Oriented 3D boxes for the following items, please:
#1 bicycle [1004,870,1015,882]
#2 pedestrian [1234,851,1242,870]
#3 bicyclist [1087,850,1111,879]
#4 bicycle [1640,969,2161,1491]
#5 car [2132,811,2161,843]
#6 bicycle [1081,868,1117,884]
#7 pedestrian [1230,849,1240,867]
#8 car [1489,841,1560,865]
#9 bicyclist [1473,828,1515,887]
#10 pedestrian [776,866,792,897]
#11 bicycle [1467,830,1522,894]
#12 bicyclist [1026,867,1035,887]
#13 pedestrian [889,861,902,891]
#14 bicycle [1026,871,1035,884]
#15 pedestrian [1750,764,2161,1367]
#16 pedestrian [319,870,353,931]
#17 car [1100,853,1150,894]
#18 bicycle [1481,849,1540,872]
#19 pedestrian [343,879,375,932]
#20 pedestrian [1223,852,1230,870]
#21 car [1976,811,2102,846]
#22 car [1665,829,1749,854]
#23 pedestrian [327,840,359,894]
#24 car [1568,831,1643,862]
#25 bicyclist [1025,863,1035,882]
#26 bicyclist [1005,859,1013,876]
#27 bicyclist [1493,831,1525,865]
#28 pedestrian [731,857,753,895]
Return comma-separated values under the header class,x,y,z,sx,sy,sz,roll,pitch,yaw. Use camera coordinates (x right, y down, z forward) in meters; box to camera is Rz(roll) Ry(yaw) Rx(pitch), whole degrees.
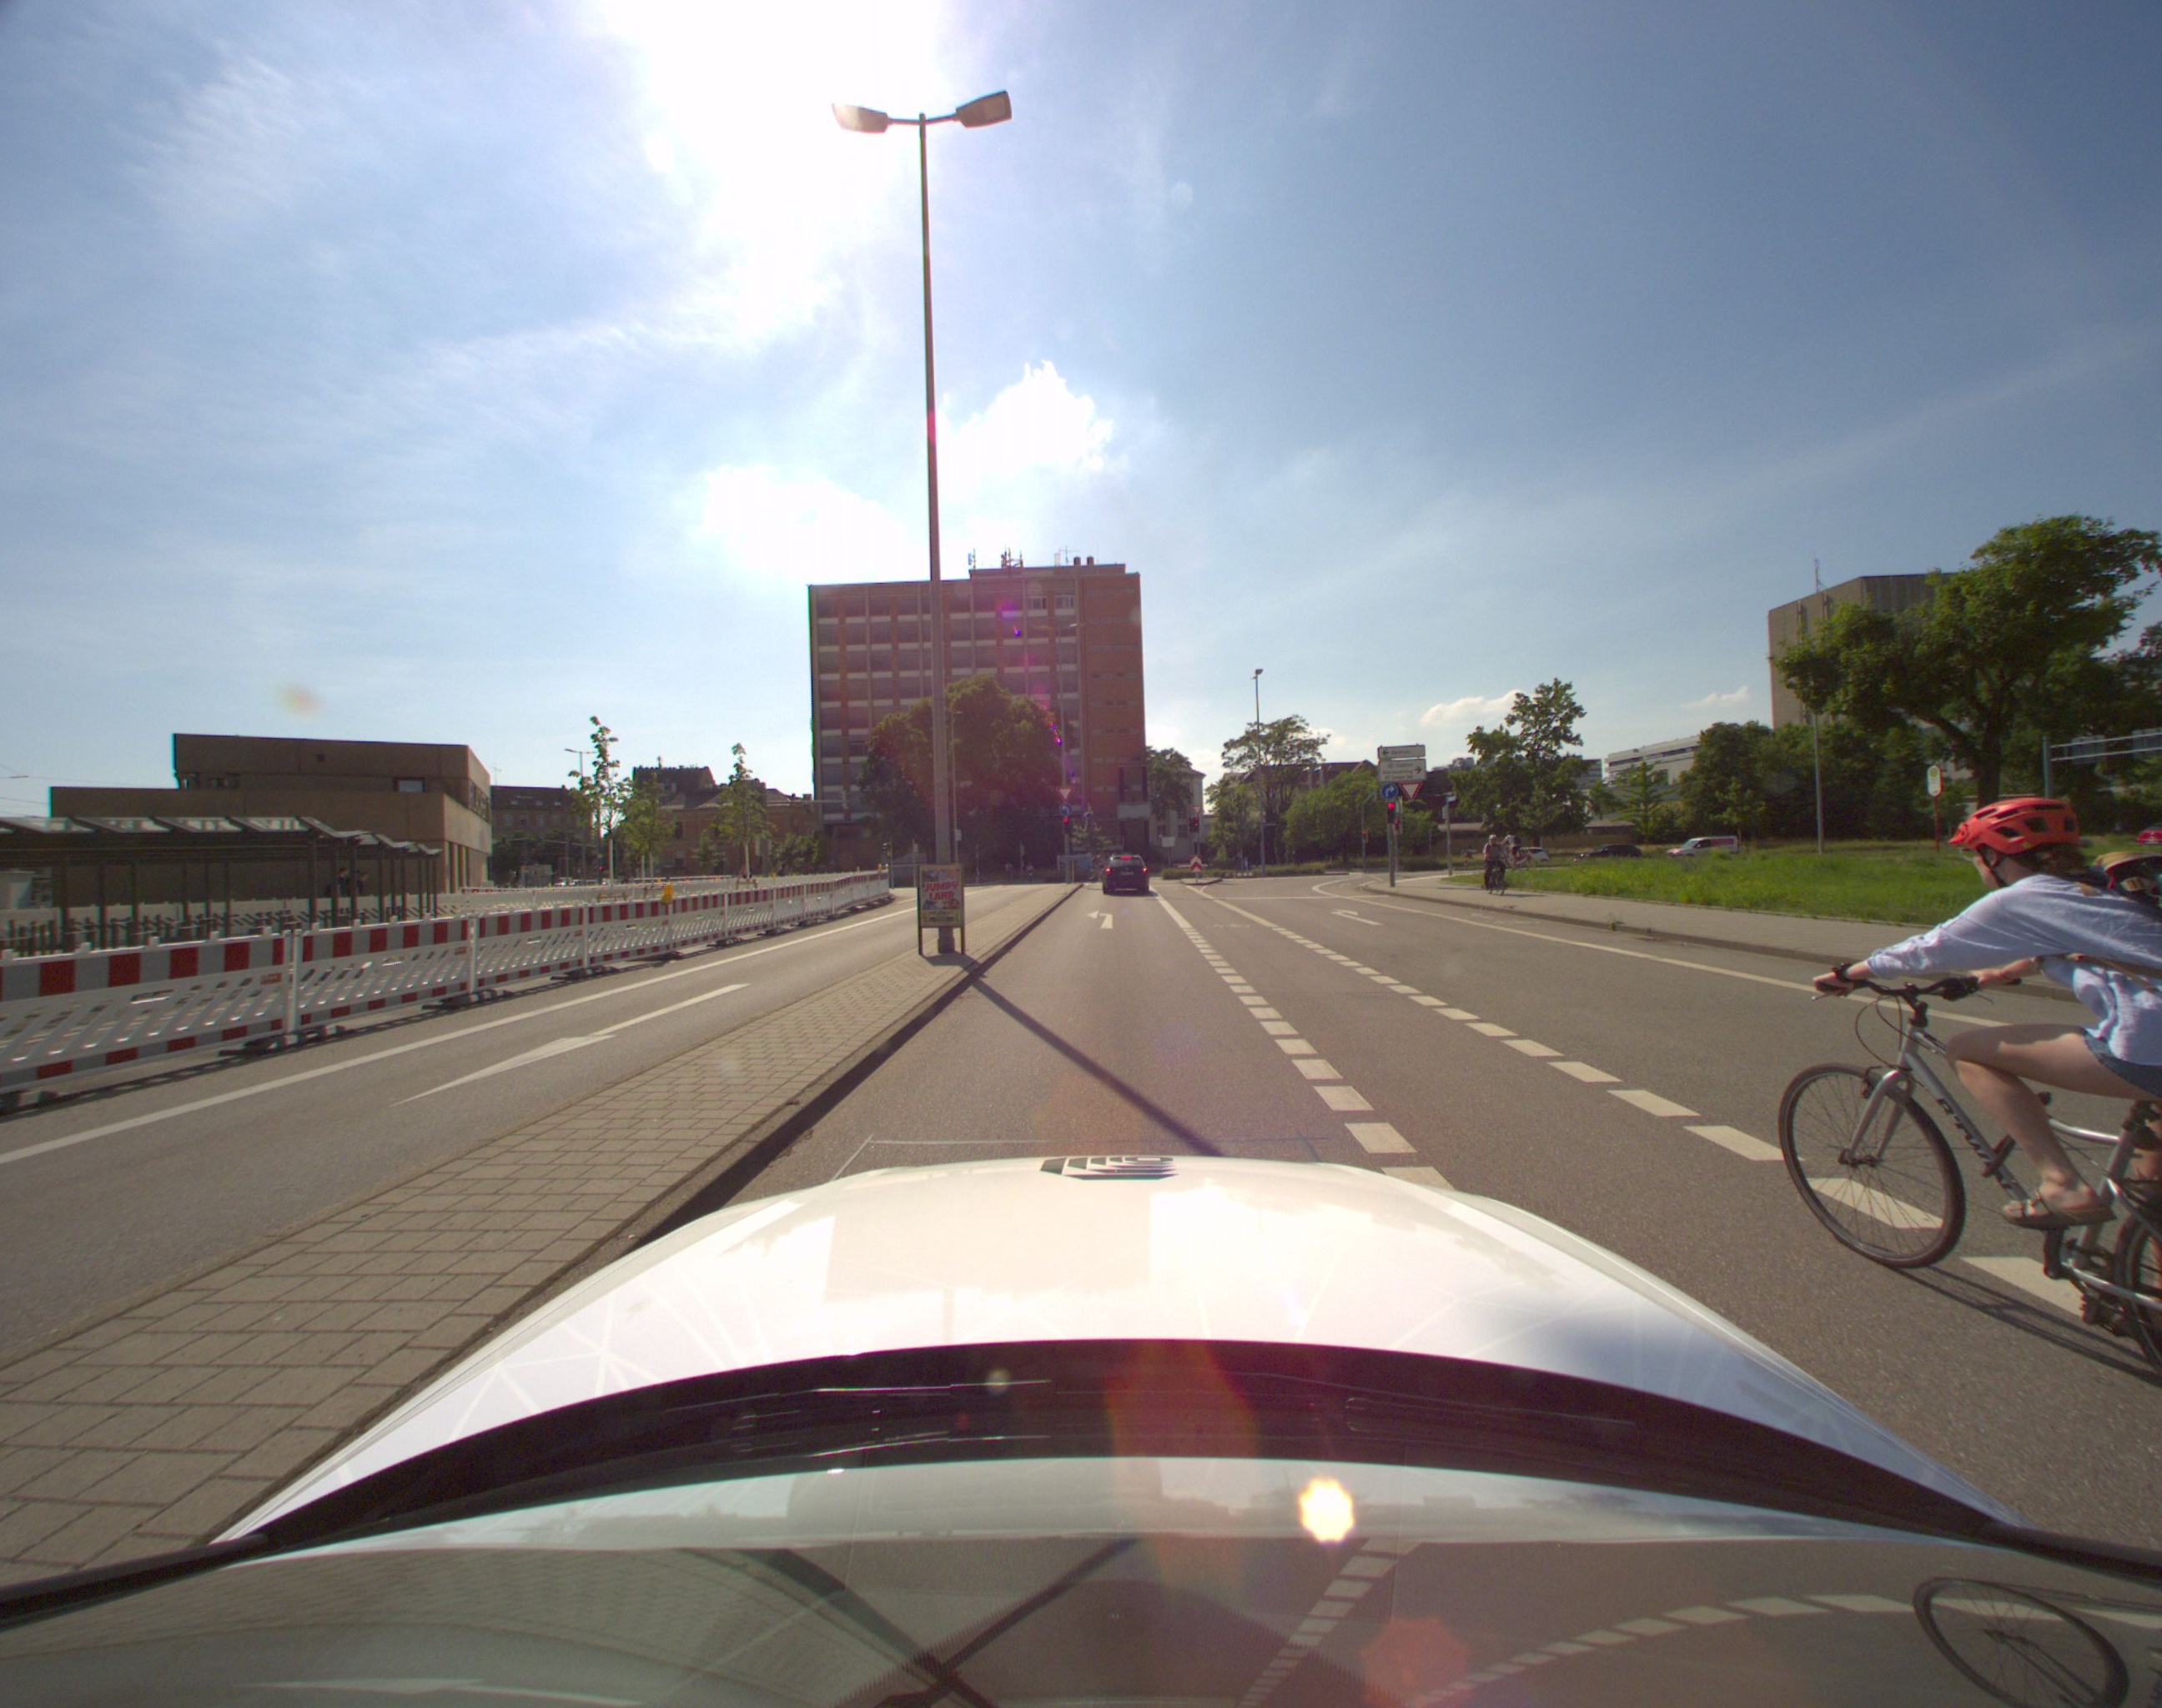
class,x,y,z,sx,sy,sz,roll,pitch,yaw
bicycle,-6.116,1.894,69.903,0.702,0.977,2.031,-3,0,1
pedestrian,16.394,0.673,85.000,0.634,1.874,0.797,-4,0,2
bicyclist,0.975,0.571,44.441,1.157,1.474,0.566,-3,0,14
bicycle,2.769,0.974,2.629,0.594,0.931,2.029,-1,-1,3
car,53.404,-1.288,38.944,3.971,1.508,1.754,1,0,2
bicycle,0.997,1.183,44.442,1.876,0.792,0.562,-2,1,15
pedestrian,16.242,0.408,85.907,0.787,1.874,0.642,-4,0,19
car,31.477,-0.044,57.877,3.971,1.464,2.001,-2,-1,2
bicyclist,11.884,0.101,23.453,0.675,1.655,0.919,-3,0,2
pedestrian,-15.111,1.393,41.393,0.631,1.491,0.614,-2,0,-14
bicycle,11.888,0.219,23.483,0.675,1.765,1.812,-3,0,3
bicyclist,-4.102,1.866,66.222,0.617,1.581,1.013,-5,0,-2
pedestrian,-12.582,1.498,55.268,0.618,2.014,0.680,1,-2,-35
bicycle,-4.093,1.864,65.971,0.617,0.961,1.966,-5,0,-2
pedestrian,2.758,0.514,2.491,0.581,1.466,1.014,-1,-1,3
pedestrian,-23.937,1.496,26.168,0.436,1.915,0.609,-3,-1,23
car,1.700,0.705,31.310,1.772,1.443,3.821,0,0,3
bicycle,18.907,0.283,35.897,0.678,0.916,2.143,-2,0,-40
pedestrian,-23.943,1.692,26.999,0.534,1.708,0.572,-3,-1,23
pedestrian,15.388,0.726,86.132,0.591,1.874,0.642,-1,-2,25
car,46.708,-1.218,39.760,3.971,1.508,1.754,-3,0,2
car,43.622,-0.840,56.825,4.293,1.569,1.911,-2,0,2
pedestrian,-24.673,0.434,27.232,0.538,1.778,0.572,-3,-1,23
car,37.176,-0.517,57.817,3.969,2.013,2.003,-2,0,4
bicyclist,-4.121,1.497,65.955,0.617,1.443,0.920,-5,0,-2
bicyclist,-6.153,1.163,69.767,0.537,1.417,1.030,-3,-1,1
bicyclist,18.837,-0.244,35.890,0.499,1.470,1.129,1,-2,-40
pedestrian,-16.498,1.076,39.662,0.737,1.752,1.105,-2,-3,-14
